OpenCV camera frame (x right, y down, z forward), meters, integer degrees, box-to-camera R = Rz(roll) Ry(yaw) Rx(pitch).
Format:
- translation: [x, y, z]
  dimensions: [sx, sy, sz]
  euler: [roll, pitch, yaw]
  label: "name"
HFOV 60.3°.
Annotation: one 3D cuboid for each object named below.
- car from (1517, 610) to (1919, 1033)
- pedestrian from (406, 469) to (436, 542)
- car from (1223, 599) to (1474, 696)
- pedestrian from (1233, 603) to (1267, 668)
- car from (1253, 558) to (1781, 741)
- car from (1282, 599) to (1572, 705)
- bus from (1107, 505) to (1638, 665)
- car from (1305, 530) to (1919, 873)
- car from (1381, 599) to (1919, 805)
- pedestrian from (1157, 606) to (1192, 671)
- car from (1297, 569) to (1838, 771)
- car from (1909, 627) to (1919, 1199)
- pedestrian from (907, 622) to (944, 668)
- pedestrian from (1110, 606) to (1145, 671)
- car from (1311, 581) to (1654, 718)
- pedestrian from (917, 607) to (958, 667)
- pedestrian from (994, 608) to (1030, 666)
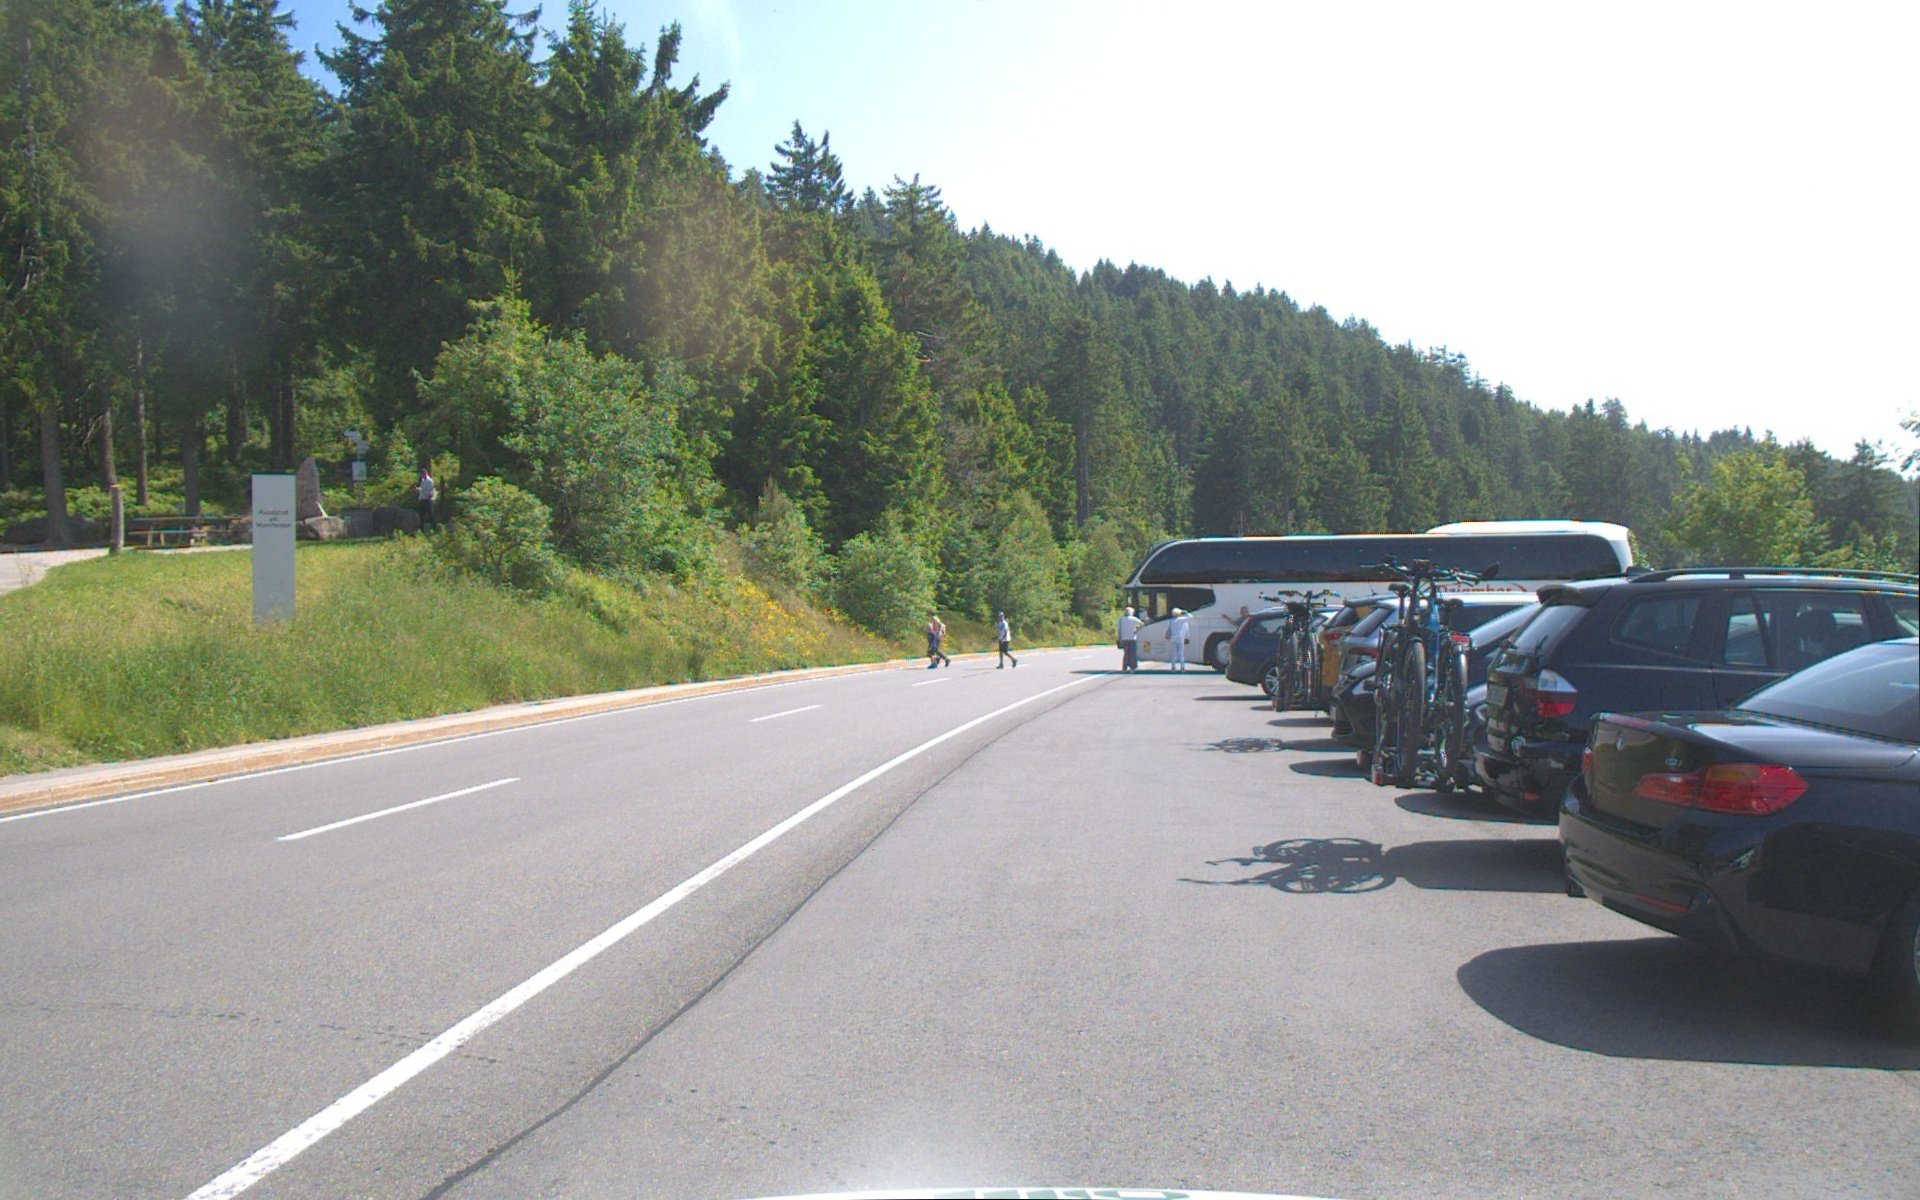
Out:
- translation: [4.443, 0.774, 6.398]
  dimensions: [3.998, 1.400, 1.702]
  euler: [1, 0, 0]
  label: "car"
- translation: [-14.336, -2.515, 44.037]
  dimensions: [0.669, 1.910, 0.539]
  euler: [-2, -1, -16]
  label: "pedestrian"
- translation: [6.470, 0.789, 27.924]
  dimensions: [3.902, 1.474, 1.862]
  euler: [-2, 0, 6]
  label: "car"
- translation: [7.372, 0.902, 41.966]
  dimensions: [0.753, 1.613, 0.773]
  euler: [-2, -1, 14]
  label: "pedestrian"
- translation: [5.682, 0.510, 17.479]
  dimensions: [4.927, 1.680, 2.049]
  euler: [-2, 0, 6]
  label: "car"
- translation: [6.851, 0.758, 24.578]
  dimensions: [3.902, 1.422, 1.621]
  euler: [-2, 0, 6]
  label: "car"
- translation: [10.464, -0.296, 42.899]
  dimensions: [12.816, 3.594, 3.045]
  euler: [-2, -1, 17]
  label: "bus"
- translation: [4.488, 0.520, 9.333]
  dimensions: [4.843, 1.725, 1.947]
  euler: [-1, 0, 8]
  label: "car"
- translation: [5.335, 0.698, 12.051]
  dimensions: [4.154, 1.291, 1.839]
  euler: [-2, 0, 6]
  label: "car"
- translation: [5.449, 0.977, 41.970]
  dimensions: [0.754, 1.613, 0.773]
  euler: [-2, -1, 13]
  label: "pedestrian"
- translation: [5.214, 0.597, 14.701]
  dimensions: [4.154, 1.581, 1.839]
  euler: [-2, 0, 6]
  label: "car"
- translation: [4.374, 0.800, 3.325]
  dimensions: [4.000, 1.400, 1.701]
  euler: [1, 0, -3]
  label: "car"
- translation: [-1.002, 1.291, 47.596]
  dimensions: [0.728, 1.302, 0.773]
  euler: [-1, -1, -36]
  label: "pedestrian"
- translation: [4.293, 0.977, 42.334]
  dimensions: [0.754, 1.613, 0.773]
  euler: [-2, -1, 13]
  label: "pedestrian"
- translation: [6.576, 0.616, 21.170]
  dimensions: [3.902, 1.581, 1.661]
  euler: [-2, 0, 6]
  label: "car"
- translation: [-0.670, 1.081, 48.634]
  dimensions: [0.846, 1.713, 0.860]
  euler: [-1, -1, -34]
  label: "pedestrian"
- translation: [1.460, 1.035, 46.629]
  dimensions: [0.837, 1.613, 0.817]
  euler: [-2, -1, -7]
  label: "pedestrian"
